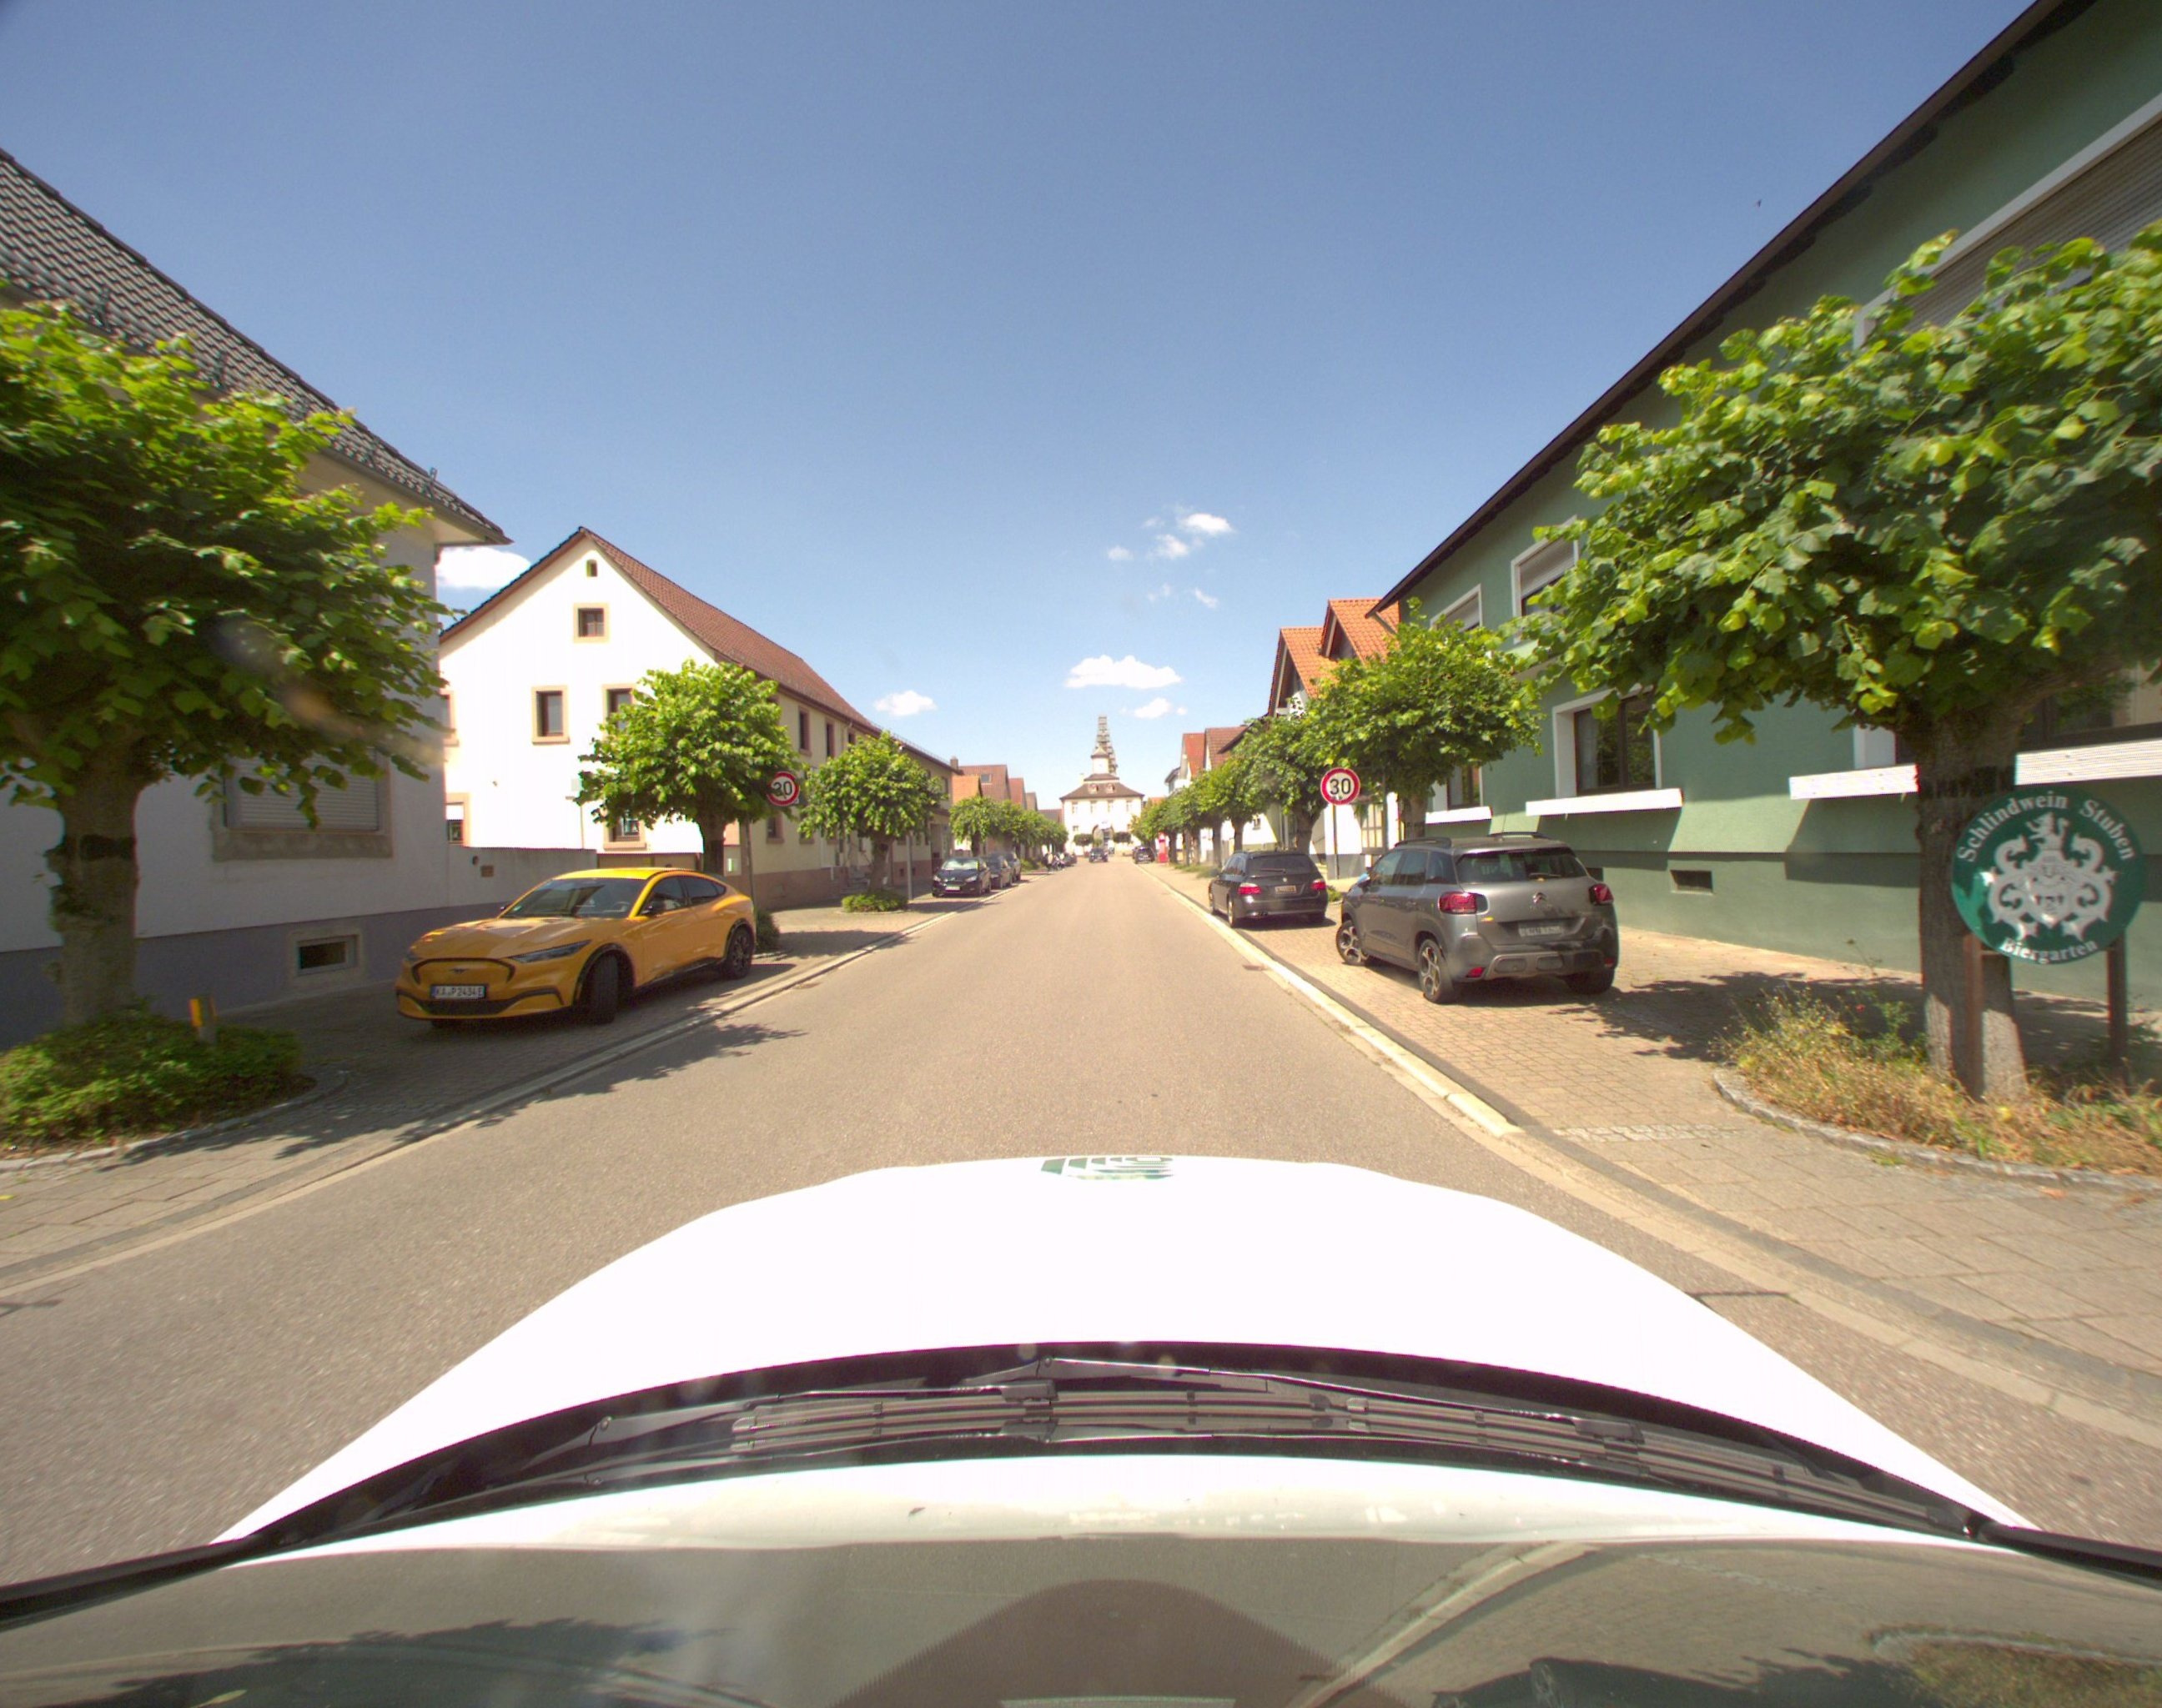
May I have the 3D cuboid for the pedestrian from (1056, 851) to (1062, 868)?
[{"bbox_3d":[-1.771,0.447,65.209,0.354,1.403,0.322,-2,0,39],"label":"pedestrian"}]

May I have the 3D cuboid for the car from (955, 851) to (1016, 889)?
[{"bbox_3d":[-4.251,0.679,37.098,1.985,1.611,4.692,-1,0,3],"label":"car"}]

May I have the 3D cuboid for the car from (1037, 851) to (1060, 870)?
[{"bbox_3d":[-2.923,0.587,74.250,1.750,1.555,4.023,-2,0,3],"label":"car"}]

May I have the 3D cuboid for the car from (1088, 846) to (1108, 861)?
[{"bbox_3d":[1.861,-0.065,91.508,1.988,1.611,4.502,0,0,-2],"label":"car"}]

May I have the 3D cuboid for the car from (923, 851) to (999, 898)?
[{"bbox_3d":[-4.550,0.710,31.553,1.985,1.611,4.693,0,1,3],"label":"car"}]

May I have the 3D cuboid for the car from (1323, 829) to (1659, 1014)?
[{"bbox_3d":[4.280,0.594,9.317,1.831,1.607,4.000,-2,0,1],"label":"car"}]

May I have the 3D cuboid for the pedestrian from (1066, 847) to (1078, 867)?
[{"bbox_3d":[-0.957,0.340,82.706,0.876,2.014,0.840,-1,-1,45],"label":"pedestrian"}]

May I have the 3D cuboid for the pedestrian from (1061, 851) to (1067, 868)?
[{"bbox_3d":[-1.354,0.446,65.400,0.354,1.403,0.322,-2,0,39],"label":"pedestrian"}]

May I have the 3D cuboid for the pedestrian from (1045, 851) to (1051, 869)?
[{"bbox_3d":[-2.588,0.446,64.070,0.354,1.403,0.322,-2,0,39],"label":"pedestrian"}]

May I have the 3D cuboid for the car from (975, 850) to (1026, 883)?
[{"bbox_3d":[-4.283,0.611,44.075,1.985,1.611,4.693,-2,0,3],"label":"car"}]

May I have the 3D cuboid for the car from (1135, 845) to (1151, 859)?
[{"bbox_3d":[7.441,-0.292,97.893,1.829,1.555,4.318,-4,0,4],"label":"car"}]

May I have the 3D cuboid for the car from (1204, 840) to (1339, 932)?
[{"bbox_3d":[3.793,0.572,16.941,1.830,1.555,4.315,-4,0,2],"label":"car"}]

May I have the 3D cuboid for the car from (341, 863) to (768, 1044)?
[{"bbox_3d":[-5.841,0.959,9.971,1.985,1.611,4.693,-1,0,3],"label":"car"}]

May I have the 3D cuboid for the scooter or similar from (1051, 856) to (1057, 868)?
[{"bbox_3d":[-2.137,0.646,64.953,0.326,1.003,0.243,-2,0,39],"label":"scooter or similar"}]

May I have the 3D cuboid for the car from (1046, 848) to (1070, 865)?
[{"bbox_3d":[-2.212,0.294,79.979,1.985,1.611,3.858,-1,0,3],"label":"car"}]

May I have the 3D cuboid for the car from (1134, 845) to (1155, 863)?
[{"bbox_3d":[6.153,-0.008,79.694,1.830,1.555,4.316,-4,0,3],"label":"car"}]
